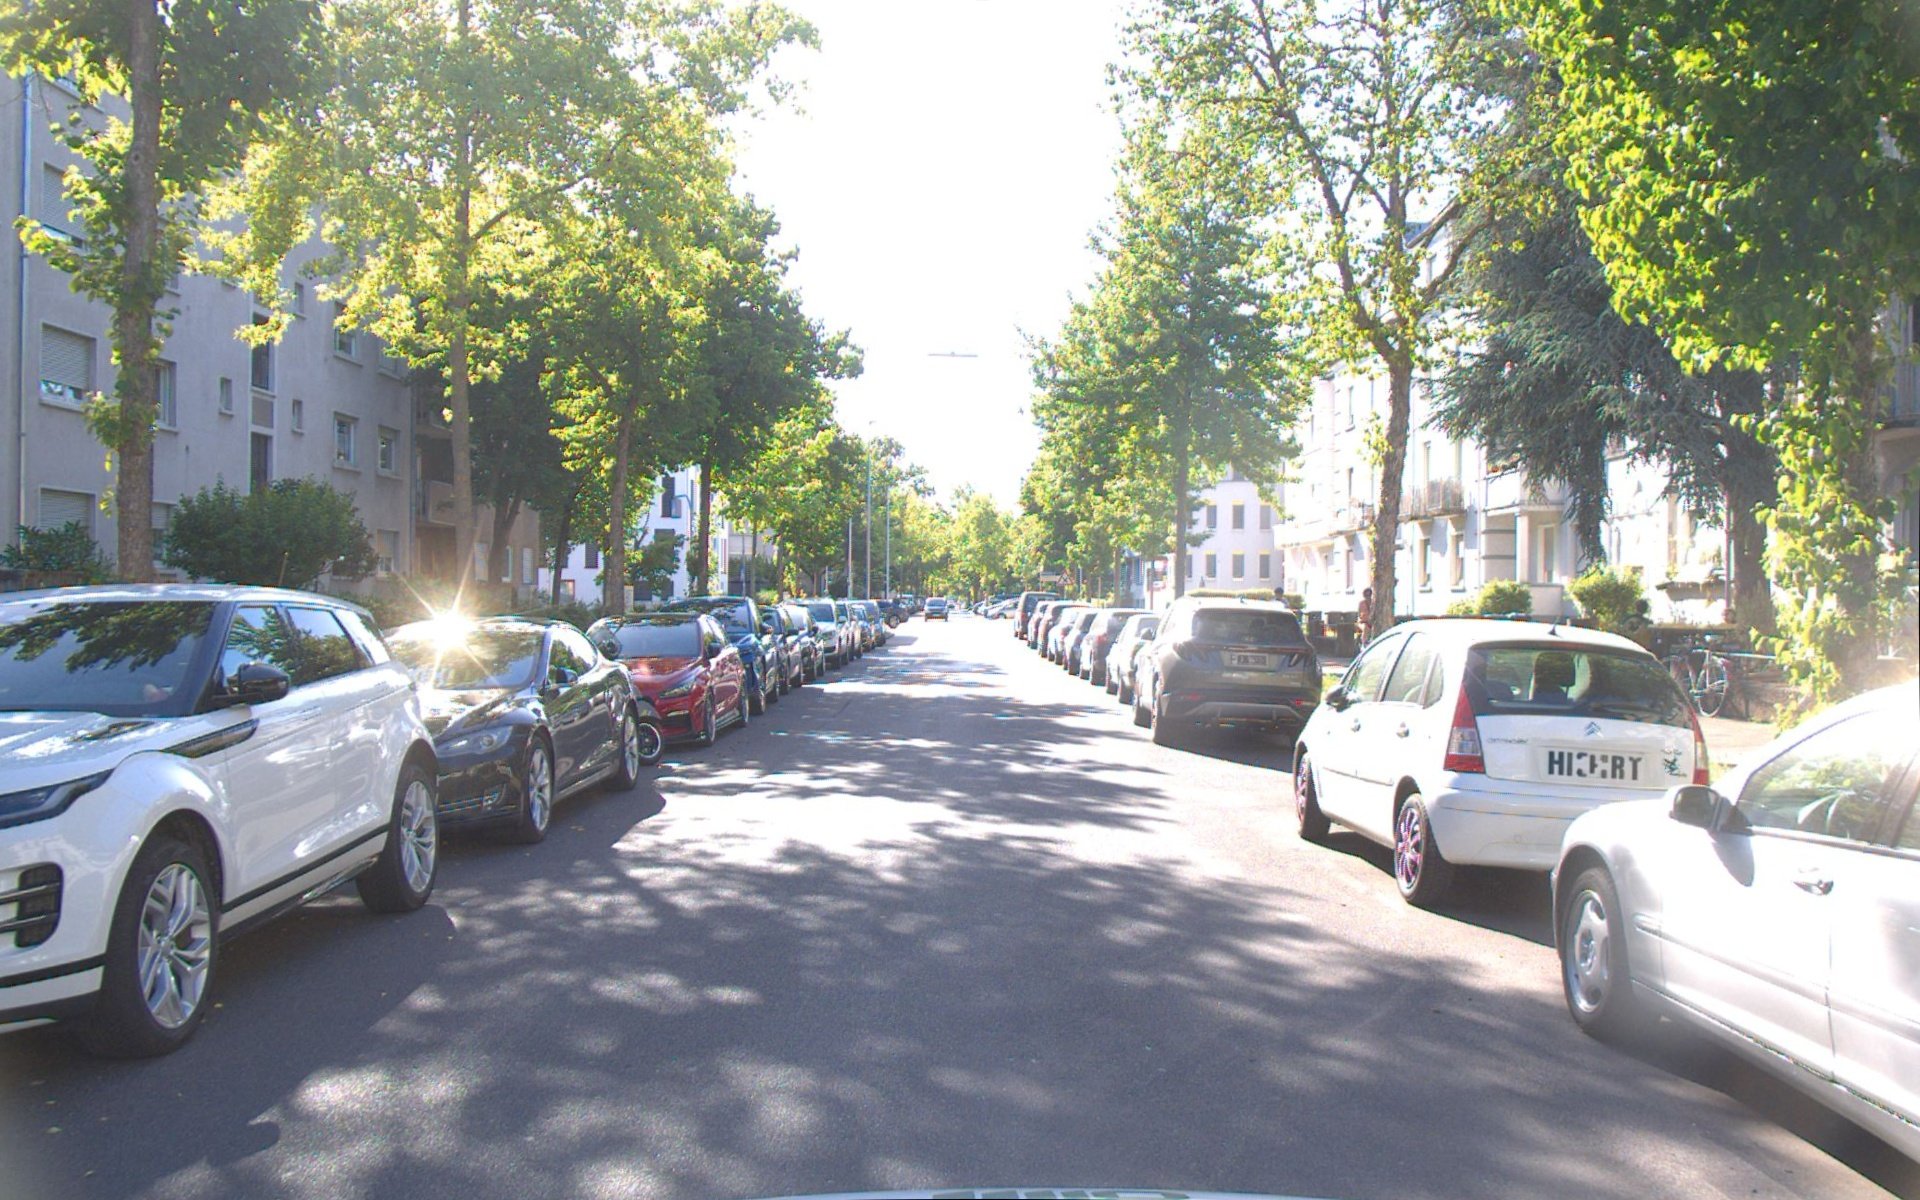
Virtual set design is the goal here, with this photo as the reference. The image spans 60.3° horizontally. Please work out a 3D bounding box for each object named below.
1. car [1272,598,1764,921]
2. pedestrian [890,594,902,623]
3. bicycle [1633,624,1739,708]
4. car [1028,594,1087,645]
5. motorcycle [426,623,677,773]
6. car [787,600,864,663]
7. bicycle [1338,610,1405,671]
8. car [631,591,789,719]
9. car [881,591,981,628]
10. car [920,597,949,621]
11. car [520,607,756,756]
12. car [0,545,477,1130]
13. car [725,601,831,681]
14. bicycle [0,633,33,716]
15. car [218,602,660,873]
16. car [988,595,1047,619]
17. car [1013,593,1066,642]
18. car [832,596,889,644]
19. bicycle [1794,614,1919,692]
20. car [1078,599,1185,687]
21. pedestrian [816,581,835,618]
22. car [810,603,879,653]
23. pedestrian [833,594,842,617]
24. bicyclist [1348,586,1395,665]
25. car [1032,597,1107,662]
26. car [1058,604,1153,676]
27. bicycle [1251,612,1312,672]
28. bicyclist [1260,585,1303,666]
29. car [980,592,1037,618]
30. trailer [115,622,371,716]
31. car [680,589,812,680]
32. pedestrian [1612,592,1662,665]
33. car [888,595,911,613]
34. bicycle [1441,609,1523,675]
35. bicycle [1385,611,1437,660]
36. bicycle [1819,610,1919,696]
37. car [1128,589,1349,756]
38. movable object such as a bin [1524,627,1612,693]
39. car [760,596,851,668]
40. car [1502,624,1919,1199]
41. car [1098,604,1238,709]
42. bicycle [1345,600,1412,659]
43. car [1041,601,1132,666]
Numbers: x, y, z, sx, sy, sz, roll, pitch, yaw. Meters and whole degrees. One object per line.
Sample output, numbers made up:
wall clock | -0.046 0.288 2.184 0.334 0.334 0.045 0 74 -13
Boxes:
car | 3.212 0.809 10.379 1.621 1.559 3.968 3 0 -1
pedestrian | -4.217 0.545 109.344 0.702 1.933 0.835 0 0 -10
bicycle | 9.325 0.826 21.315 0.569 0.992 1.904 0 0 1
car | 3.348 0.649 57.661 1.796 1.628 4.158 2 0 0
motorcycle | -3.851 0.909 15.796 2.244 1.293 0.806 -2 0 -11
car | -3.607 0.815 44.833 1.675 1.571 3.930 -2 0 0
bicycle | 8.414 0.807 33.928 0.670 1.173 2.401 0 0 -3
car | -3.499 0.713 23.860 1.754 1.594 4.463 -3 0 -3
car | -1.501 0.518 86.949 5.026 1.854 1.976 1 0 -35
car | -1.788 0.609 115.096 1.748 1.637 3.996 0 0 -4
car | -3.456 0.814 18.542 1.743 1.403 4.262 -2 0 0
car | -3.491 0.713 6.829 1.693 1.646 4.365 -3 0 -1
car | -3.635 0.782 33.623 1.726 1.469 3.908 -2 0 -1
bicycle | -11.777 0.840 19.029 1.908 0.933 0.514 1 0 0
car | -3.524 0.823 12.170 1.693 1.503 4.619 -3 0 0
car | 3.890 0.491 112.114 3.908 1.615 1.725 0 0 -4
car | 3.285 0.693 69.512 1.931 1.983 4.984 0 0 -1
car | -3.573 0.694 59.892 1.802 1.623 4.261 -2 0 -1
bicycle | 13.356 0.774 24.321 1.857 1.119 0.583 0 0 3
car | 3.359 0.798 33.119 1.658 1.567 4.441 1 0 0
pedestrian | -7.433 -0.025 91.486 0.841 2.049 0.982 0 0 8
car | -3.707 0.868 53.820 1.953 1.478 4.261 -2 0 -1
pedestrian | -10.494 0.462 141.651 0.747 1.934 0.817 0 0 -7
bicyclist | 8.422 0.510 33.876 0.663 1.580 1.021 0 0 -3
car | 3.219 0.836 49.414 1.868 1.728 4.313 3 0 0
car | 3.239 0.866 37.405 1.752 1.478 3.781 1 0 -1
bicycle | 6.574 0.840 33.935 0.670 1.173 2.401 0 0 -3
bicyclist | 6.574 0.508 33.862 0.663 1.638 0.921 0 0 -3
car | 3.423 0.337 117.729 3.907 1.837 1.889 0 0 -3
trailer | -9.034 0.835 21.132 1.751 1.052 3.282 0 0 2
car | -3.697 0.567 29.226 1.792 1.478 4.122 -1 0 0
pedestrian | 10.974 0.460 26.825 0.499 1.162 0.756 1 0 2
car | -5.547 0.368 151.089 1.953 1.613 4.000 0 0 0
bicycle | 9.516 0.746 30.243 0.787 1.135 1.999 1 0 -3
bicycle | 9.475 0.741 34.791 0.583 0.974 1.903 0 0 0
bicycle | 12.511 0.694 21.988 1.857 1.119 0.583 0 0 3
car | 3.192 0.747 19.960 1.886 1.680 5.096 2 0 1
movable object such as a bin | 9.118 0.879 24.821 1.196 0.920 1.664 0 0 20
car | -3.624 0.721 39.438 1.774 1.624 4.232 0 0 0
car | 3.225 0.857 4.652 1.676 1.435 4.860 2 0 -1
car | 3.355 0.868 27.477 1.715 1.479 4.462 3 0 0
bicycle | 9.389 0.637 37.191 0.822 1.279 2.230 1 0 -4
car | 3.256 0.838 43.405 1.859 1.500 4.698 3 0 -1
